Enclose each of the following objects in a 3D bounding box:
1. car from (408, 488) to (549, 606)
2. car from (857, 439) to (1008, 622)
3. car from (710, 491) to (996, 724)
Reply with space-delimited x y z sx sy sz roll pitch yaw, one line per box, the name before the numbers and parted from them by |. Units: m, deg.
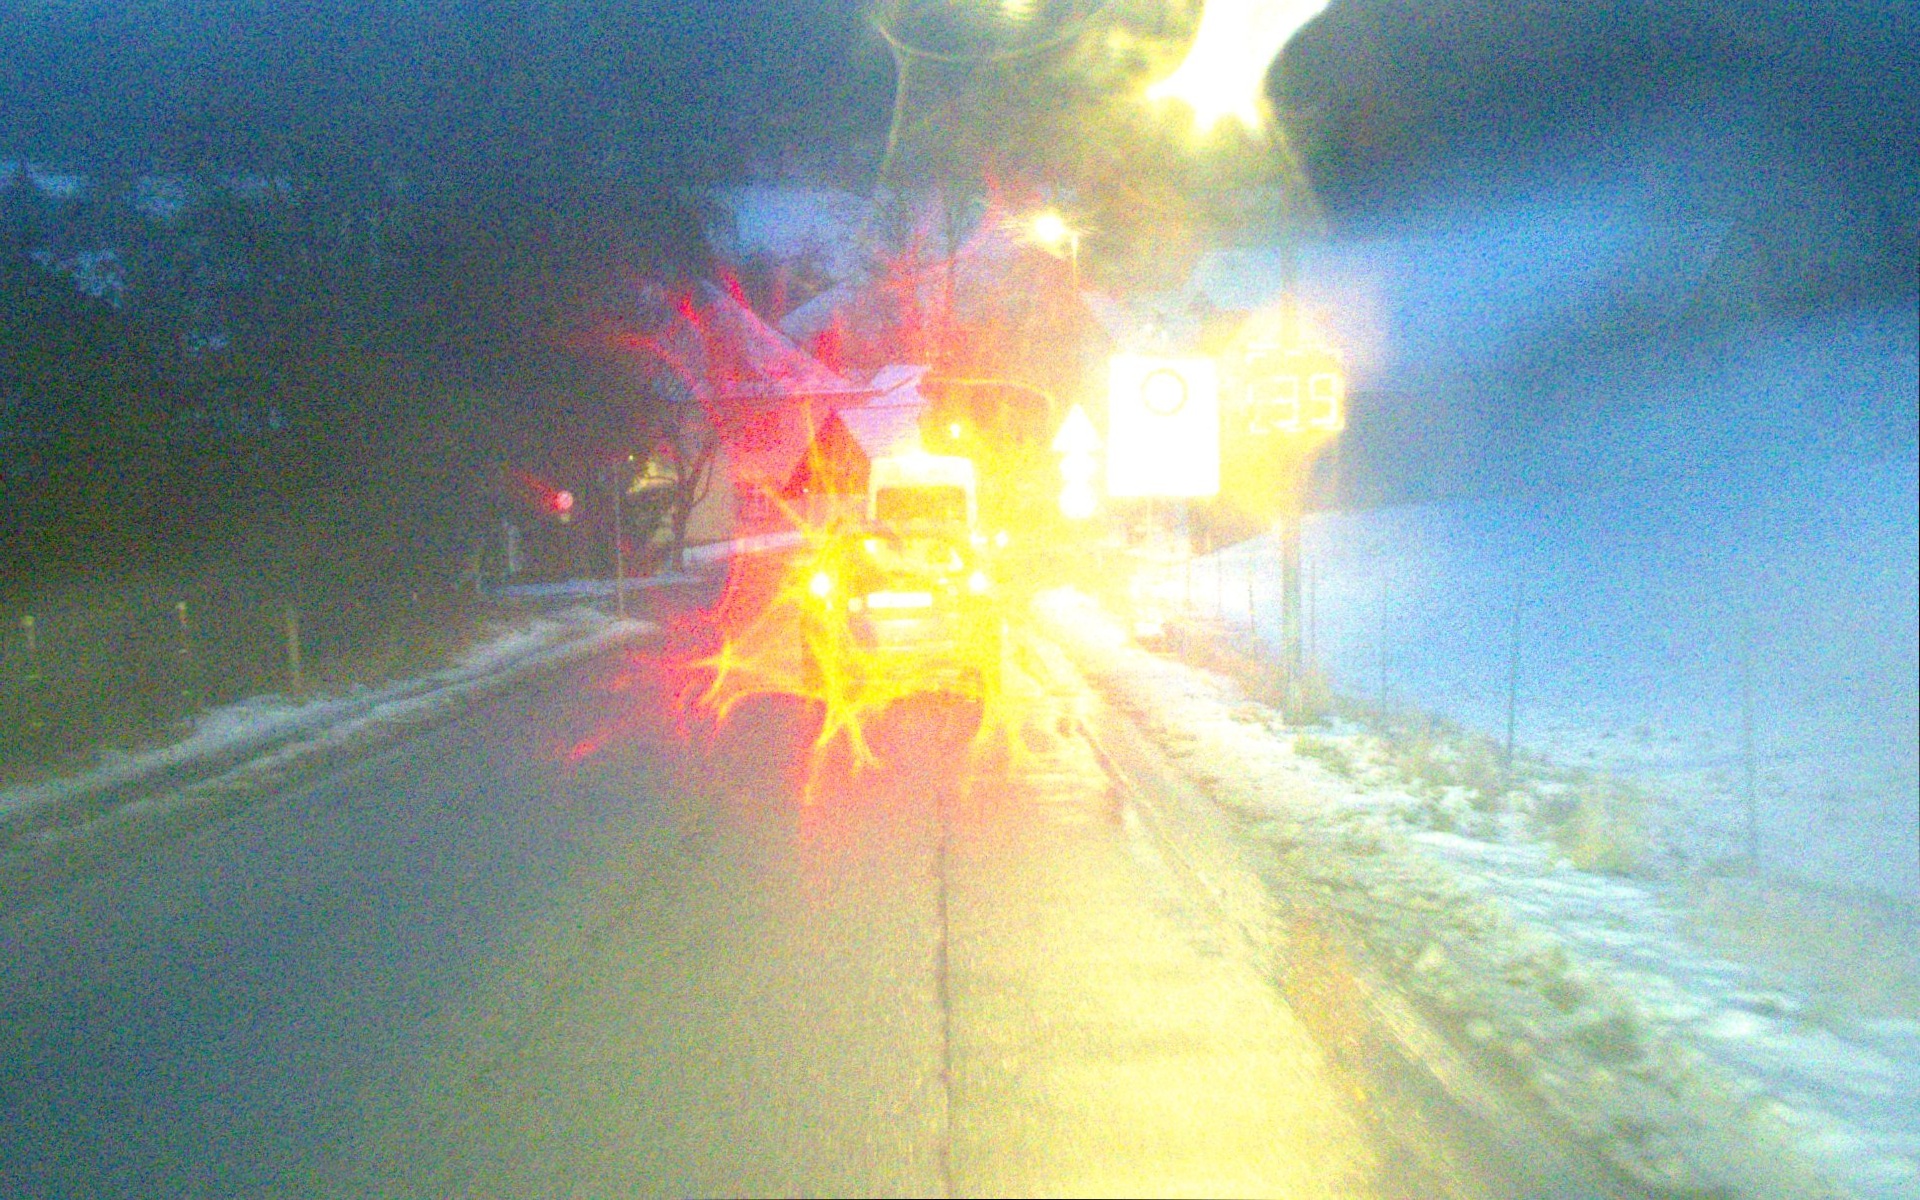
car | -10.971 -1.220 78.770 2.469 2.562 6.229 -1 1 -1
car | -0.432 -1.179 61.243 2.435 3.008 5.325 -3 0 1
car | -0.935 0.009 30.411 2.274 1.834 5.007 -1 1 -2
